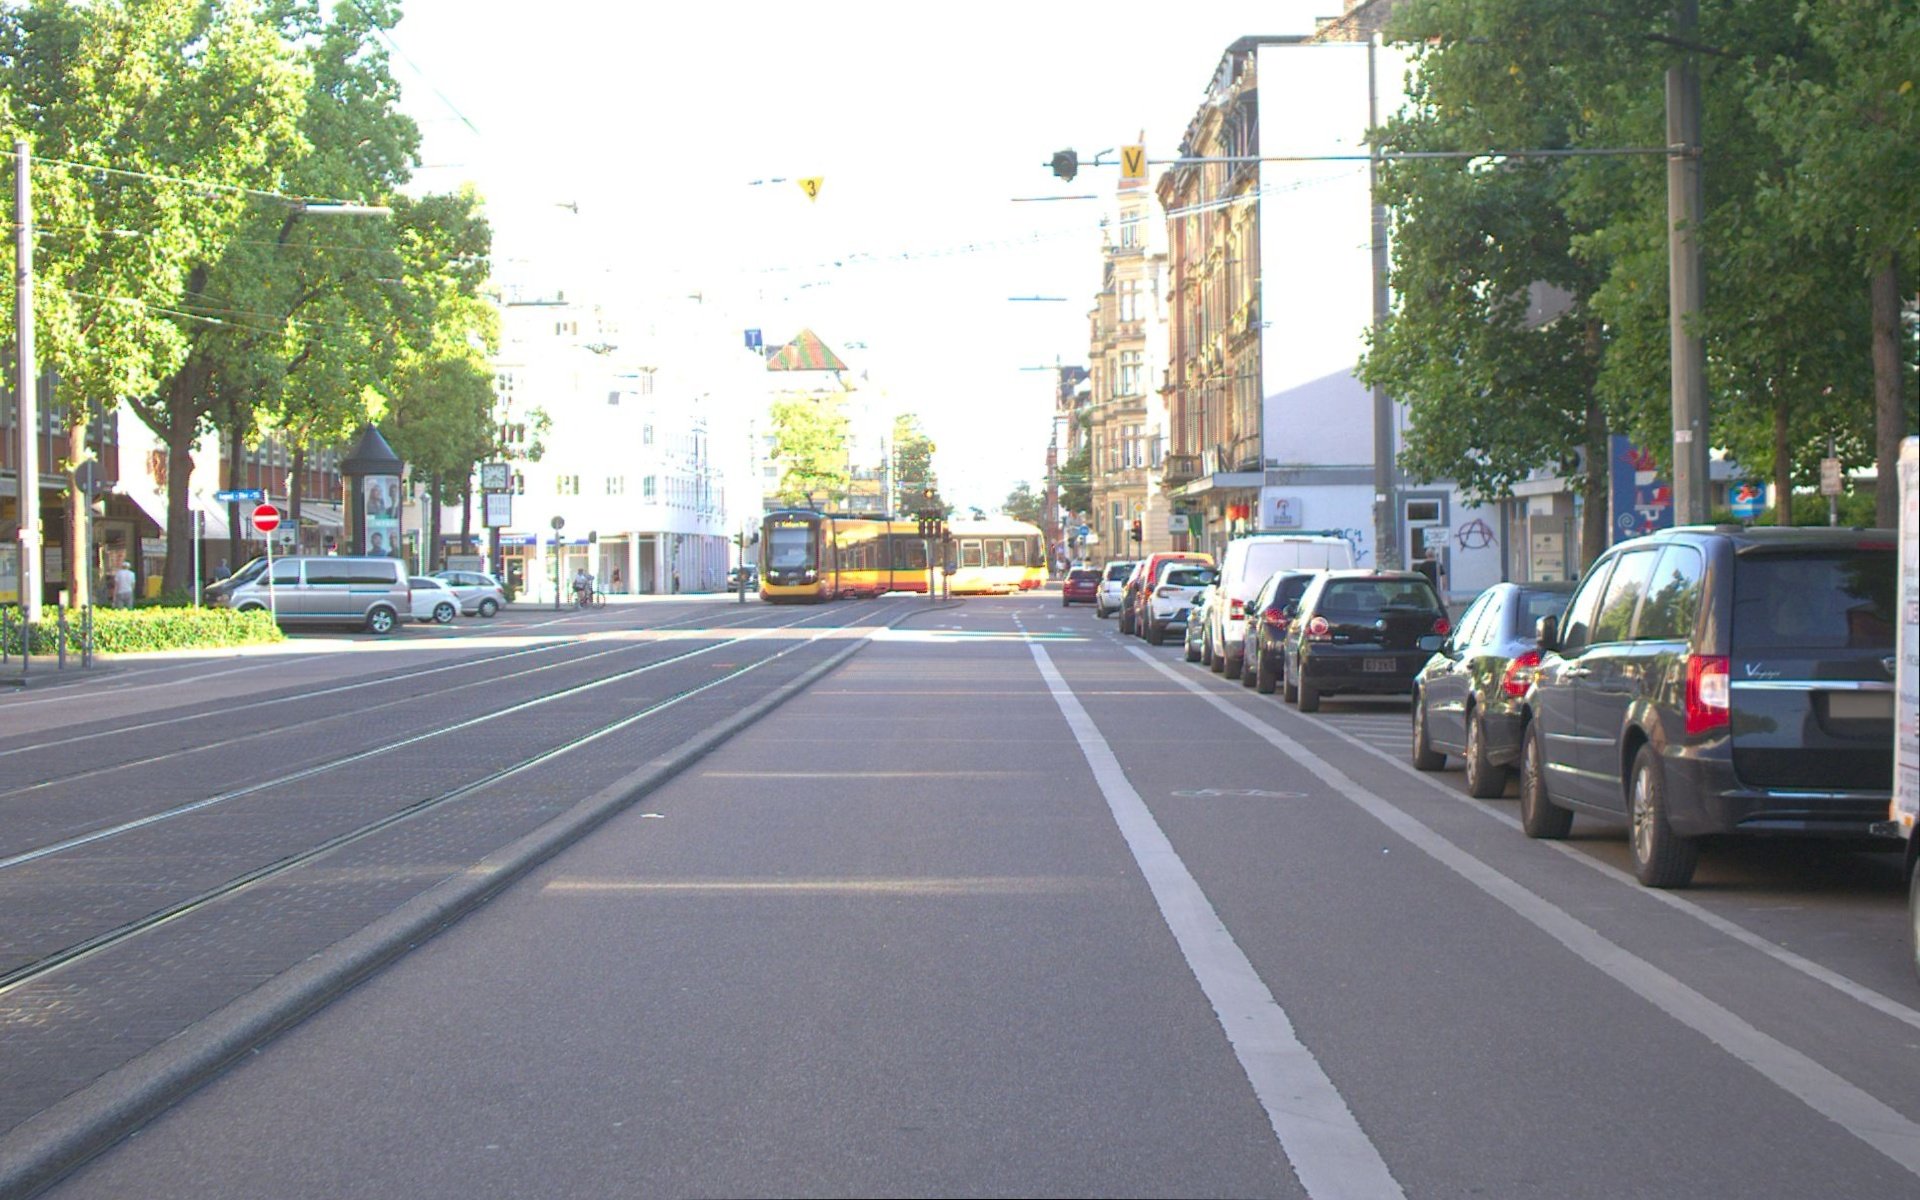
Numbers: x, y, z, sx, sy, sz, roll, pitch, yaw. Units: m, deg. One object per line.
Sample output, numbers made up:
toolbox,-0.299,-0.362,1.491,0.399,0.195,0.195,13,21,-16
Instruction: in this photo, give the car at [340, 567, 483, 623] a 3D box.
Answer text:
car,-16.836,-0.161,105.527,3.868,1.622,1.876,1,1,-30

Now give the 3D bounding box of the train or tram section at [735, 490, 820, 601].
train or tram section,-6.862,-2.051,130.427,2.692,3.946,12.091,2,1,-1

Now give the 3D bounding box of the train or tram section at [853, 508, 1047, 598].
train or tram section,-0.327,-2.043,153.469,2.697,3.739,11.266,2,1,34

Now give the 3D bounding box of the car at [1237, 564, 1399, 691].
car,4.326,0.298,42.008,1.621,1.468,3.971,0,1,1

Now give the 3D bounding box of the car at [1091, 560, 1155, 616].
car,4.702,-0.356,99.503,1.621,1.550,4.083,1,1,0

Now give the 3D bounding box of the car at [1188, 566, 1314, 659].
car,4.544,0.164,54.138,1.621,1.366,3.931,1,1,0

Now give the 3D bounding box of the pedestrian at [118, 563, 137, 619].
pedestrian,-20.069,-0.215,82.878,0.362,1.338,0.483,2,1,-19

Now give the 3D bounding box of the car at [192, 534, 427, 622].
car,-16.309,-0.521,86.234,5.252,2.036,2.419,1,-1,-31

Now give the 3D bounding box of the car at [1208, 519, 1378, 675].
car,4.579,-0.076,47.873,1.971,2.007,4.558,-2,1,1

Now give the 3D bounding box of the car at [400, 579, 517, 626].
car,-16.905,0.088,115.948,3.519,1.476,1.582,1,1,-31

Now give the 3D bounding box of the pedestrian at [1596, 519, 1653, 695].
pedestrian,6.623,0.071,34.264,0.426,1.704,0.453,-2,4,19

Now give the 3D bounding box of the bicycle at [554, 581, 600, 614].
bicycle,-15.155,-0.113,136.008,0.698,1.235,2.025,1,1,-44

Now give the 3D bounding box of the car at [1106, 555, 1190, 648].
car,4.194,0.013,77.071,1.621,2.000,3.831,1,1,0

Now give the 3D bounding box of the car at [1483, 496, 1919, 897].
car,4.149,0.414,18.002,1.949,1.782,5.182,1,1,-1

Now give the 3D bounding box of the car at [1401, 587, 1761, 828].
car,4.295,0.684,24.464,1.716,1.422,4.675,0,2,0

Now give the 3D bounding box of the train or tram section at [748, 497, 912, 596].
train or tram section,-5.244,-2.146,142.543,2.694,3.865,12.833,2,1,17

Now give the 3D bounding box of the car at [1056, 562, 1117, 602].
car,4.636,-0.663,126.182,2.065,1.384,4.225,2,1,0

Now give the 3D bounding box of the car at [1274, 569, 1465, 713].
car,4.301,0.396,36.549,1.621,1.427,3.984,0,1,1

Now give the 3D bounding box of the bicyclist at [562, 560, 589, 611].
bicyclist,-15.228,-0.582,136.031,0.698,2.007,0.724,1,1,-42

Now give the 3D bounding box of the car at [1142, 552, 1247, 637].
car,4.510,-0.134,66.601,1.723,1.562,4.083,-1,1,0

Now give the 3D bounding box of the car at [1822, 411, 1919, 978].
car,4.432,0.354,12.795,1.705,2.112,3.706,0,0,3

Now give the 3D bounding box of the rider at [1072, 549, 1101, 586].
rider,5.060,-1.294,137.178,0.711,1.476,0.886,1,1,-40

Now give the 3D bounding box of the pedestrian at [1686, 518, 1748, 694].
pedestrian,7.502,0.056,34.059,0.498,1.704,0.453,-2,3,19

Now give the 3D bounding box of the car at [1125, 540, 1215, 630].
car,4.416,-0.335,72.690,1.621,1.807,4.083,1,1,0

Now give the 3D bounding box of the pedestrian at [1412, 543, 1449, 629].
pedestrian,9.504,-0.283,69.458,0.661,1.716,0.835,0,0,1
